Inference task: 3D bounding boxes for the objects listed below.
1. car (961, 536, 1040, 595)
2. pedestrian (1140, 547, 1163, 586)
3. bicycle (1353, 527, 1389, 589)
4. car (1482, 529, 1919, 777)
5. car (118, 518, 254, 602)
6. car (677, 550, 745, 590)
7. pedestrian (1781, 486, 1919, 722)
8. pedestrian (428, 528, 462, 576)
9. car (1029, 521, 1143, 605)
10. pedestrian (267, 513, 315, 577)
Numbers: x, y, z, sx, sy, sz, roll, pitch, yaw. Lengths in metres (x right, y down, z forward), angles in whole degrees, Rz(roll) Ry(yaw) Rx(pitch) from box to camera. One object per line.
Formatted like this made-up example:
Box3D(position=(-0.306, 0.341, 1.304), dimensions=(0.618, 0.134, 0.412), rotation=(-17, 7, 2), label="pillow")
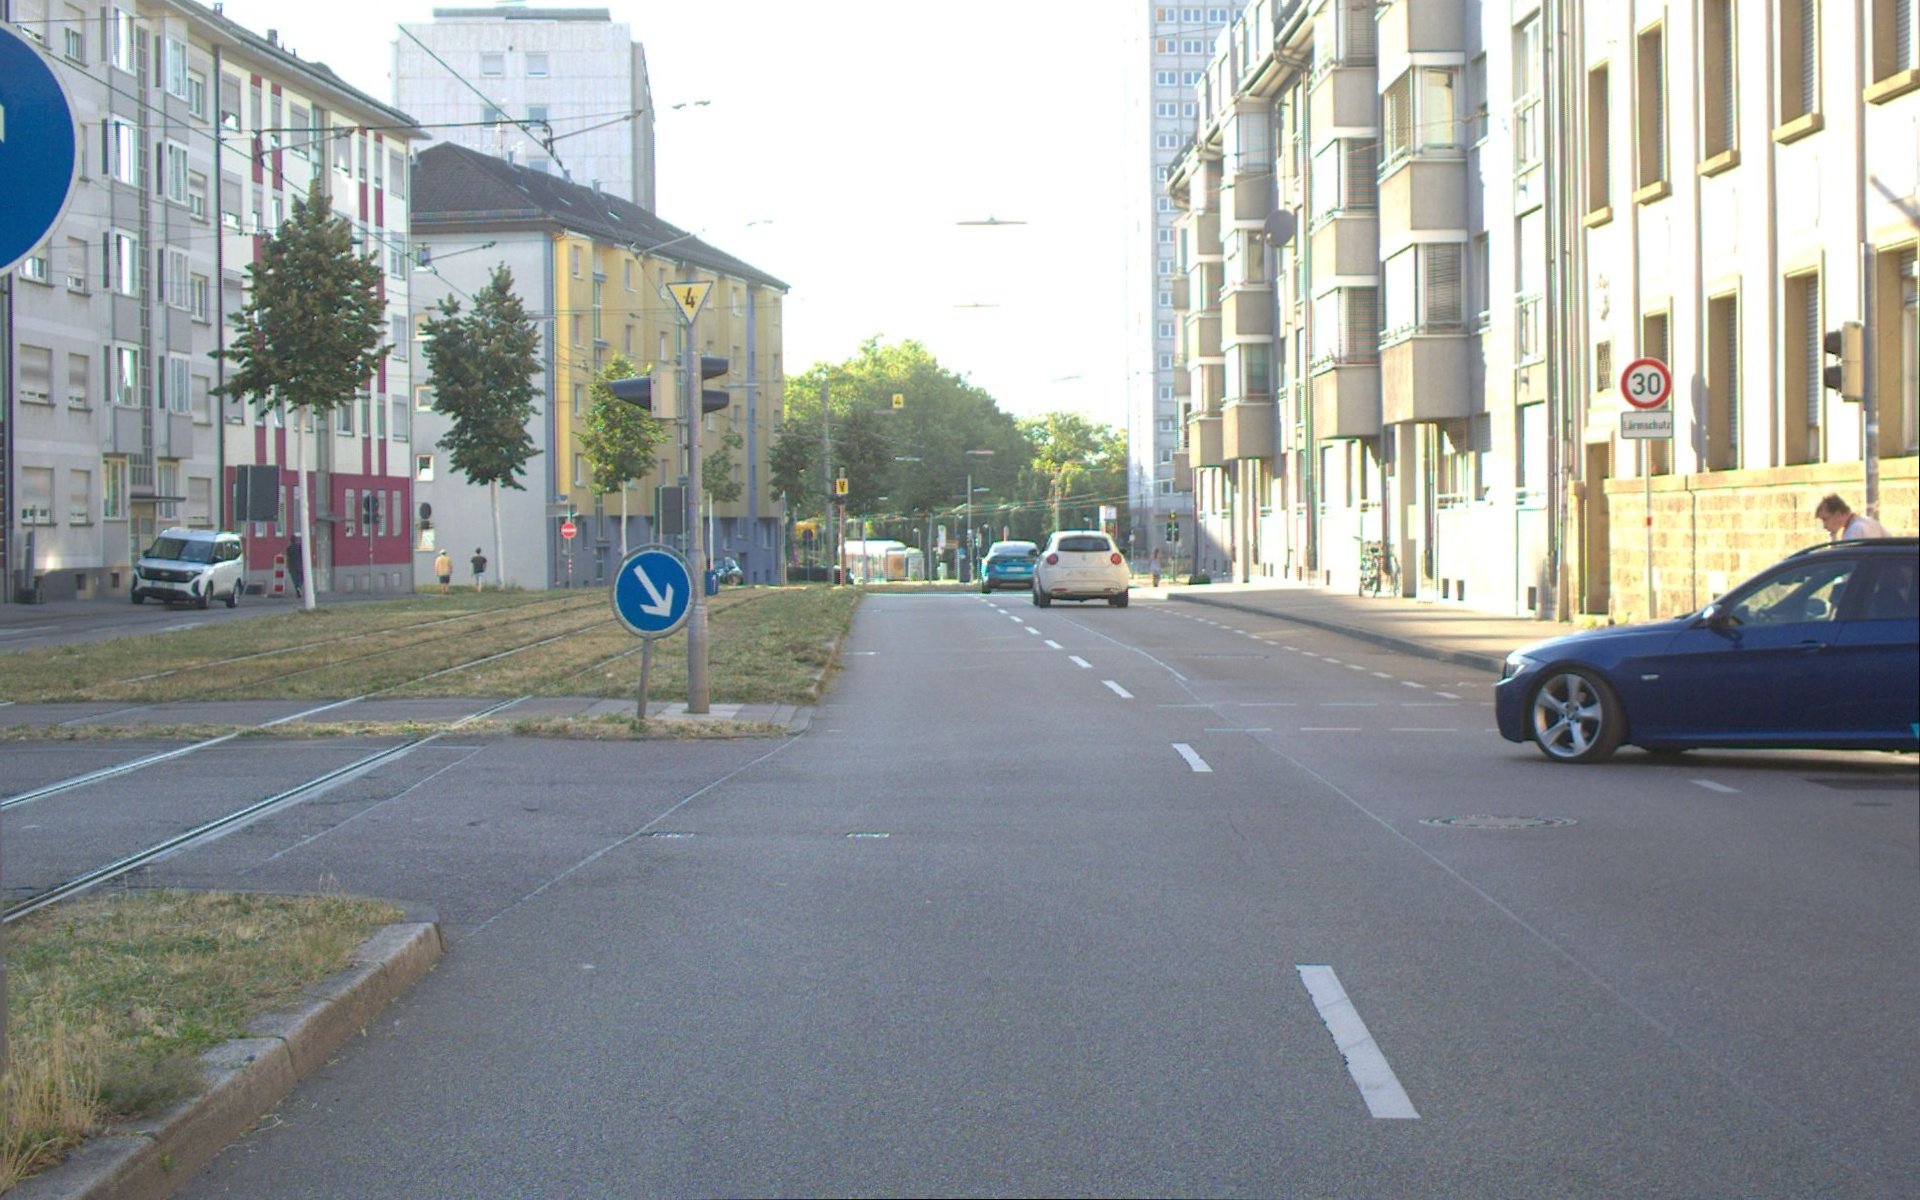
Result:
Box3D(position=(1.094, -0.955, 95.207), dimensions=(1.993, 1.549, 4.394), rotation=(1, 1, -1), label="car")
Box3D(position=(6.104, -1.070, 109.695), dimensions=(0.691, 1.230, 0.736), rotation=(1, 0, 0), label="pedestrian")
Box3D(position=(7.400, -0.752, 61.930), dimensions=(0.383, 1.092, 1.504), rotation=(-1, 1, -3), label="bicycle")
Box3D(position=(5.671, 0.311, 21.556), dimensions=(4.321, 1.451, 1.929), rotation=(1, 1, 31), label="car")
Box3D(position=(-18.339, -0.953, 81.643), dimensions=(1.994, 1.918, 4.541), rotation=(1, 1, 3), label="car")
Box3D(position=(-10.502, -1.290, 145.033), dimensions=(1.898, 1.628, 4.746), rotation=(-1, 1, 8), label="car")
Box3D(position=(6.778, 0.029, 26.138), dimensions=(0.835, 1.756, 0.824), rotation=(1, 0, -1), label="pedestrian")
Box3D(position=(-18.160, -1.685, 121.137), dimensions=(0.962, 1.688, 1.011), rotation=(1, 0, 5), label="pedestrian")
Box3D(position=(2.403, -0.716, 66.434), dimensions=(1.993, 1.558, 4.000), rotation=(1, 1, 0), label="car")
Box3D(position=(-18.762, -1.538, 96.501), dimensions=(1.269, 1.755, 1.274), rotation=(1, 0, -10), label="pedestrian")
